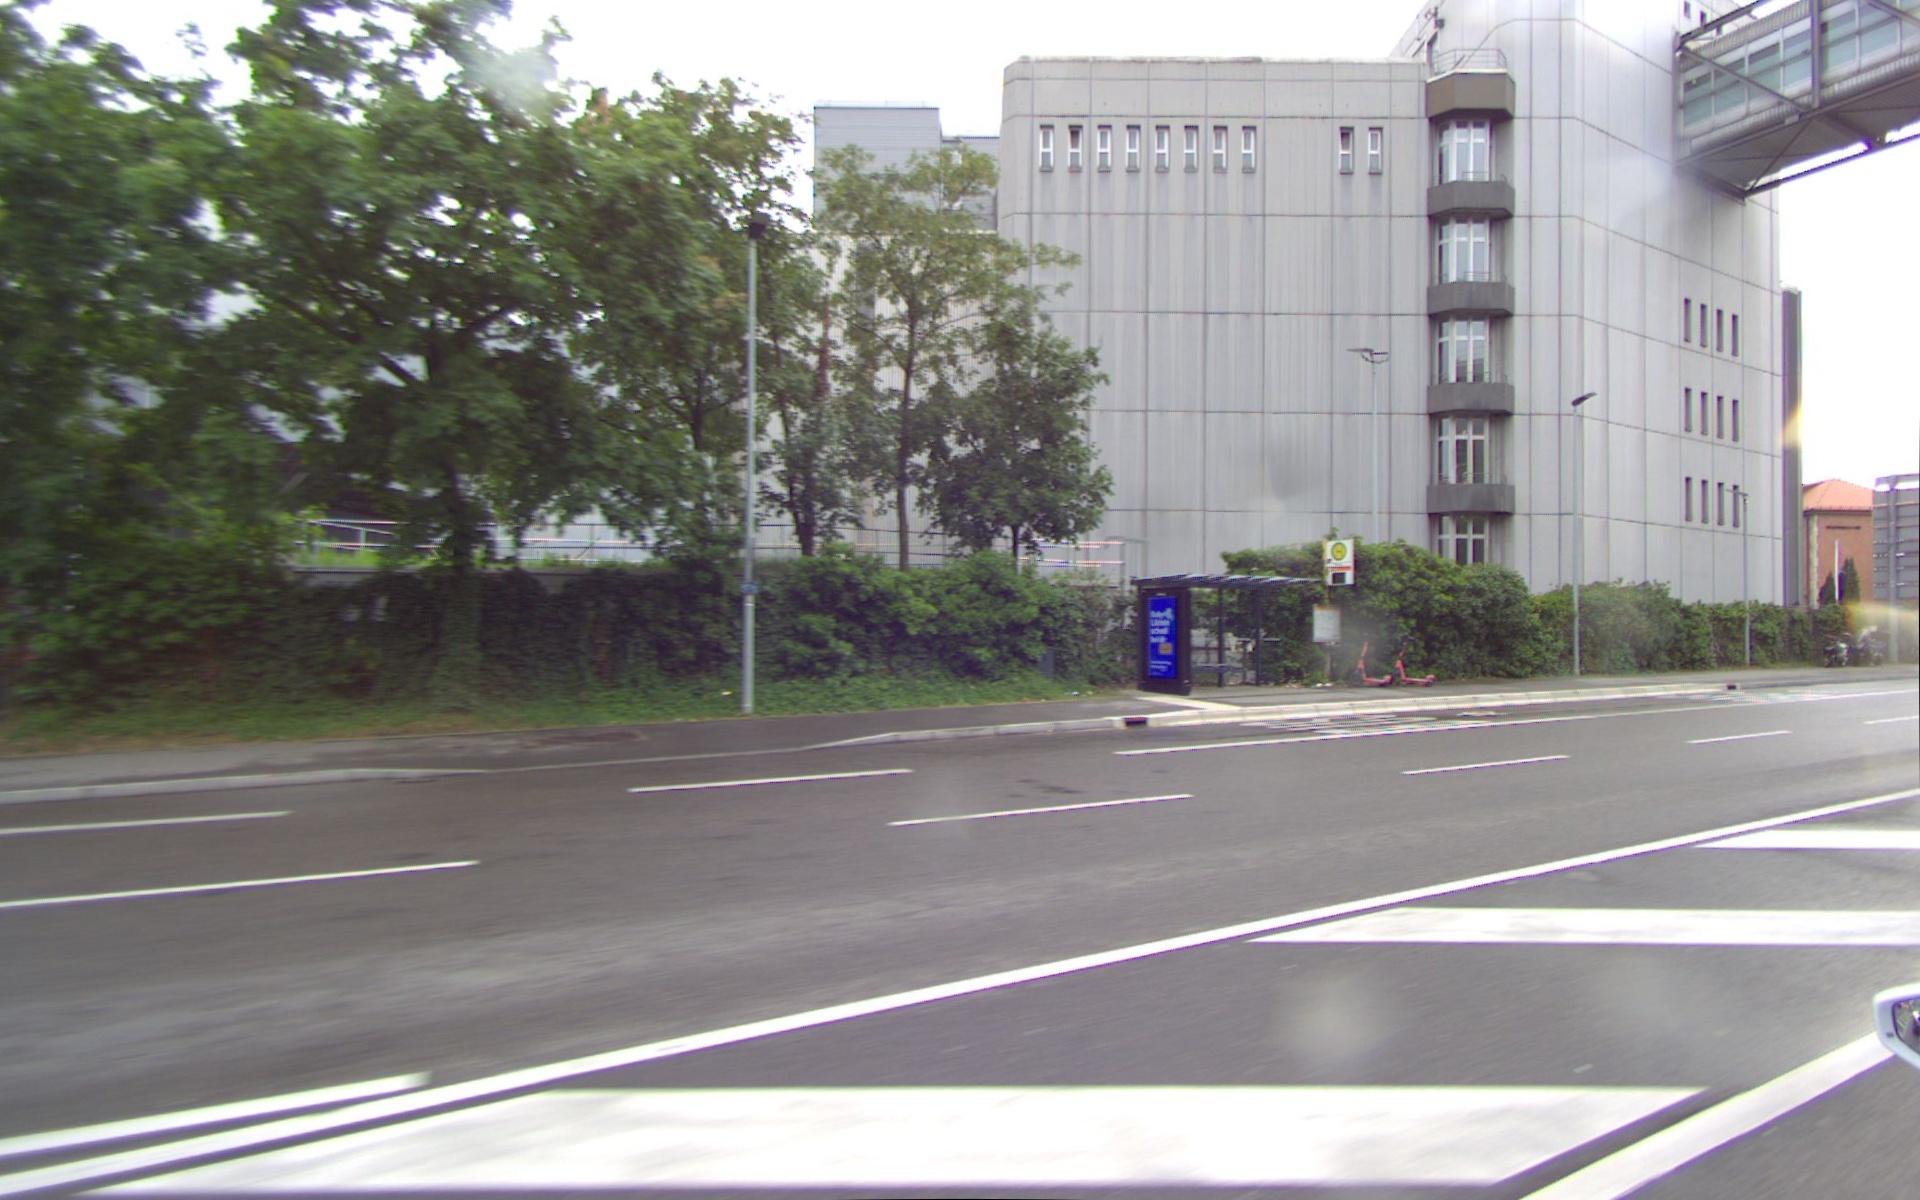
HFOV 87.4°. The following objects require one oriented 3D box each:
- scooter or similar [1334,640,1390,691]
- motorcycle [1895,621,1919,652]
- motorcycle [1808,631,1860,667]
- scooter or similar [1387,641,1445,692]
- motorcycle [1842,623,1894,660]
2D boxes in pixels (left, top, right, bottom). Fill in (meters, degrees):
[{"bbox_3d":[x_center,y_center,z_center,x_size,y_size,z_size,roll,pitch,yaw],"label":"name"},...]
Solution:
[{"bbox_3d":[9.521,1.543,23.787,1.230,1.196,0.388,0,-1,-16],"label":"scooter or similar"},{"bbox_3d":[39.469,1.488,41.402,2.132,1.263,0.781,1,-2,-30],"label":"motorcycle"},{"bbox_3d":[32.564,1.811,37.416,2.132,1.267,0.781,1,-2,-30],"label":"motorcycle"},{"bbox_3d":[11.076,1.603,24.410,1.355,1.196,0.378,0,-1,-16],"label":"scooter or similar"},{"bbox_3d":[34.873,1.592,38.569,2.342,1.365,0.781,1,-2,-30],"label":"motorcycle"}]
